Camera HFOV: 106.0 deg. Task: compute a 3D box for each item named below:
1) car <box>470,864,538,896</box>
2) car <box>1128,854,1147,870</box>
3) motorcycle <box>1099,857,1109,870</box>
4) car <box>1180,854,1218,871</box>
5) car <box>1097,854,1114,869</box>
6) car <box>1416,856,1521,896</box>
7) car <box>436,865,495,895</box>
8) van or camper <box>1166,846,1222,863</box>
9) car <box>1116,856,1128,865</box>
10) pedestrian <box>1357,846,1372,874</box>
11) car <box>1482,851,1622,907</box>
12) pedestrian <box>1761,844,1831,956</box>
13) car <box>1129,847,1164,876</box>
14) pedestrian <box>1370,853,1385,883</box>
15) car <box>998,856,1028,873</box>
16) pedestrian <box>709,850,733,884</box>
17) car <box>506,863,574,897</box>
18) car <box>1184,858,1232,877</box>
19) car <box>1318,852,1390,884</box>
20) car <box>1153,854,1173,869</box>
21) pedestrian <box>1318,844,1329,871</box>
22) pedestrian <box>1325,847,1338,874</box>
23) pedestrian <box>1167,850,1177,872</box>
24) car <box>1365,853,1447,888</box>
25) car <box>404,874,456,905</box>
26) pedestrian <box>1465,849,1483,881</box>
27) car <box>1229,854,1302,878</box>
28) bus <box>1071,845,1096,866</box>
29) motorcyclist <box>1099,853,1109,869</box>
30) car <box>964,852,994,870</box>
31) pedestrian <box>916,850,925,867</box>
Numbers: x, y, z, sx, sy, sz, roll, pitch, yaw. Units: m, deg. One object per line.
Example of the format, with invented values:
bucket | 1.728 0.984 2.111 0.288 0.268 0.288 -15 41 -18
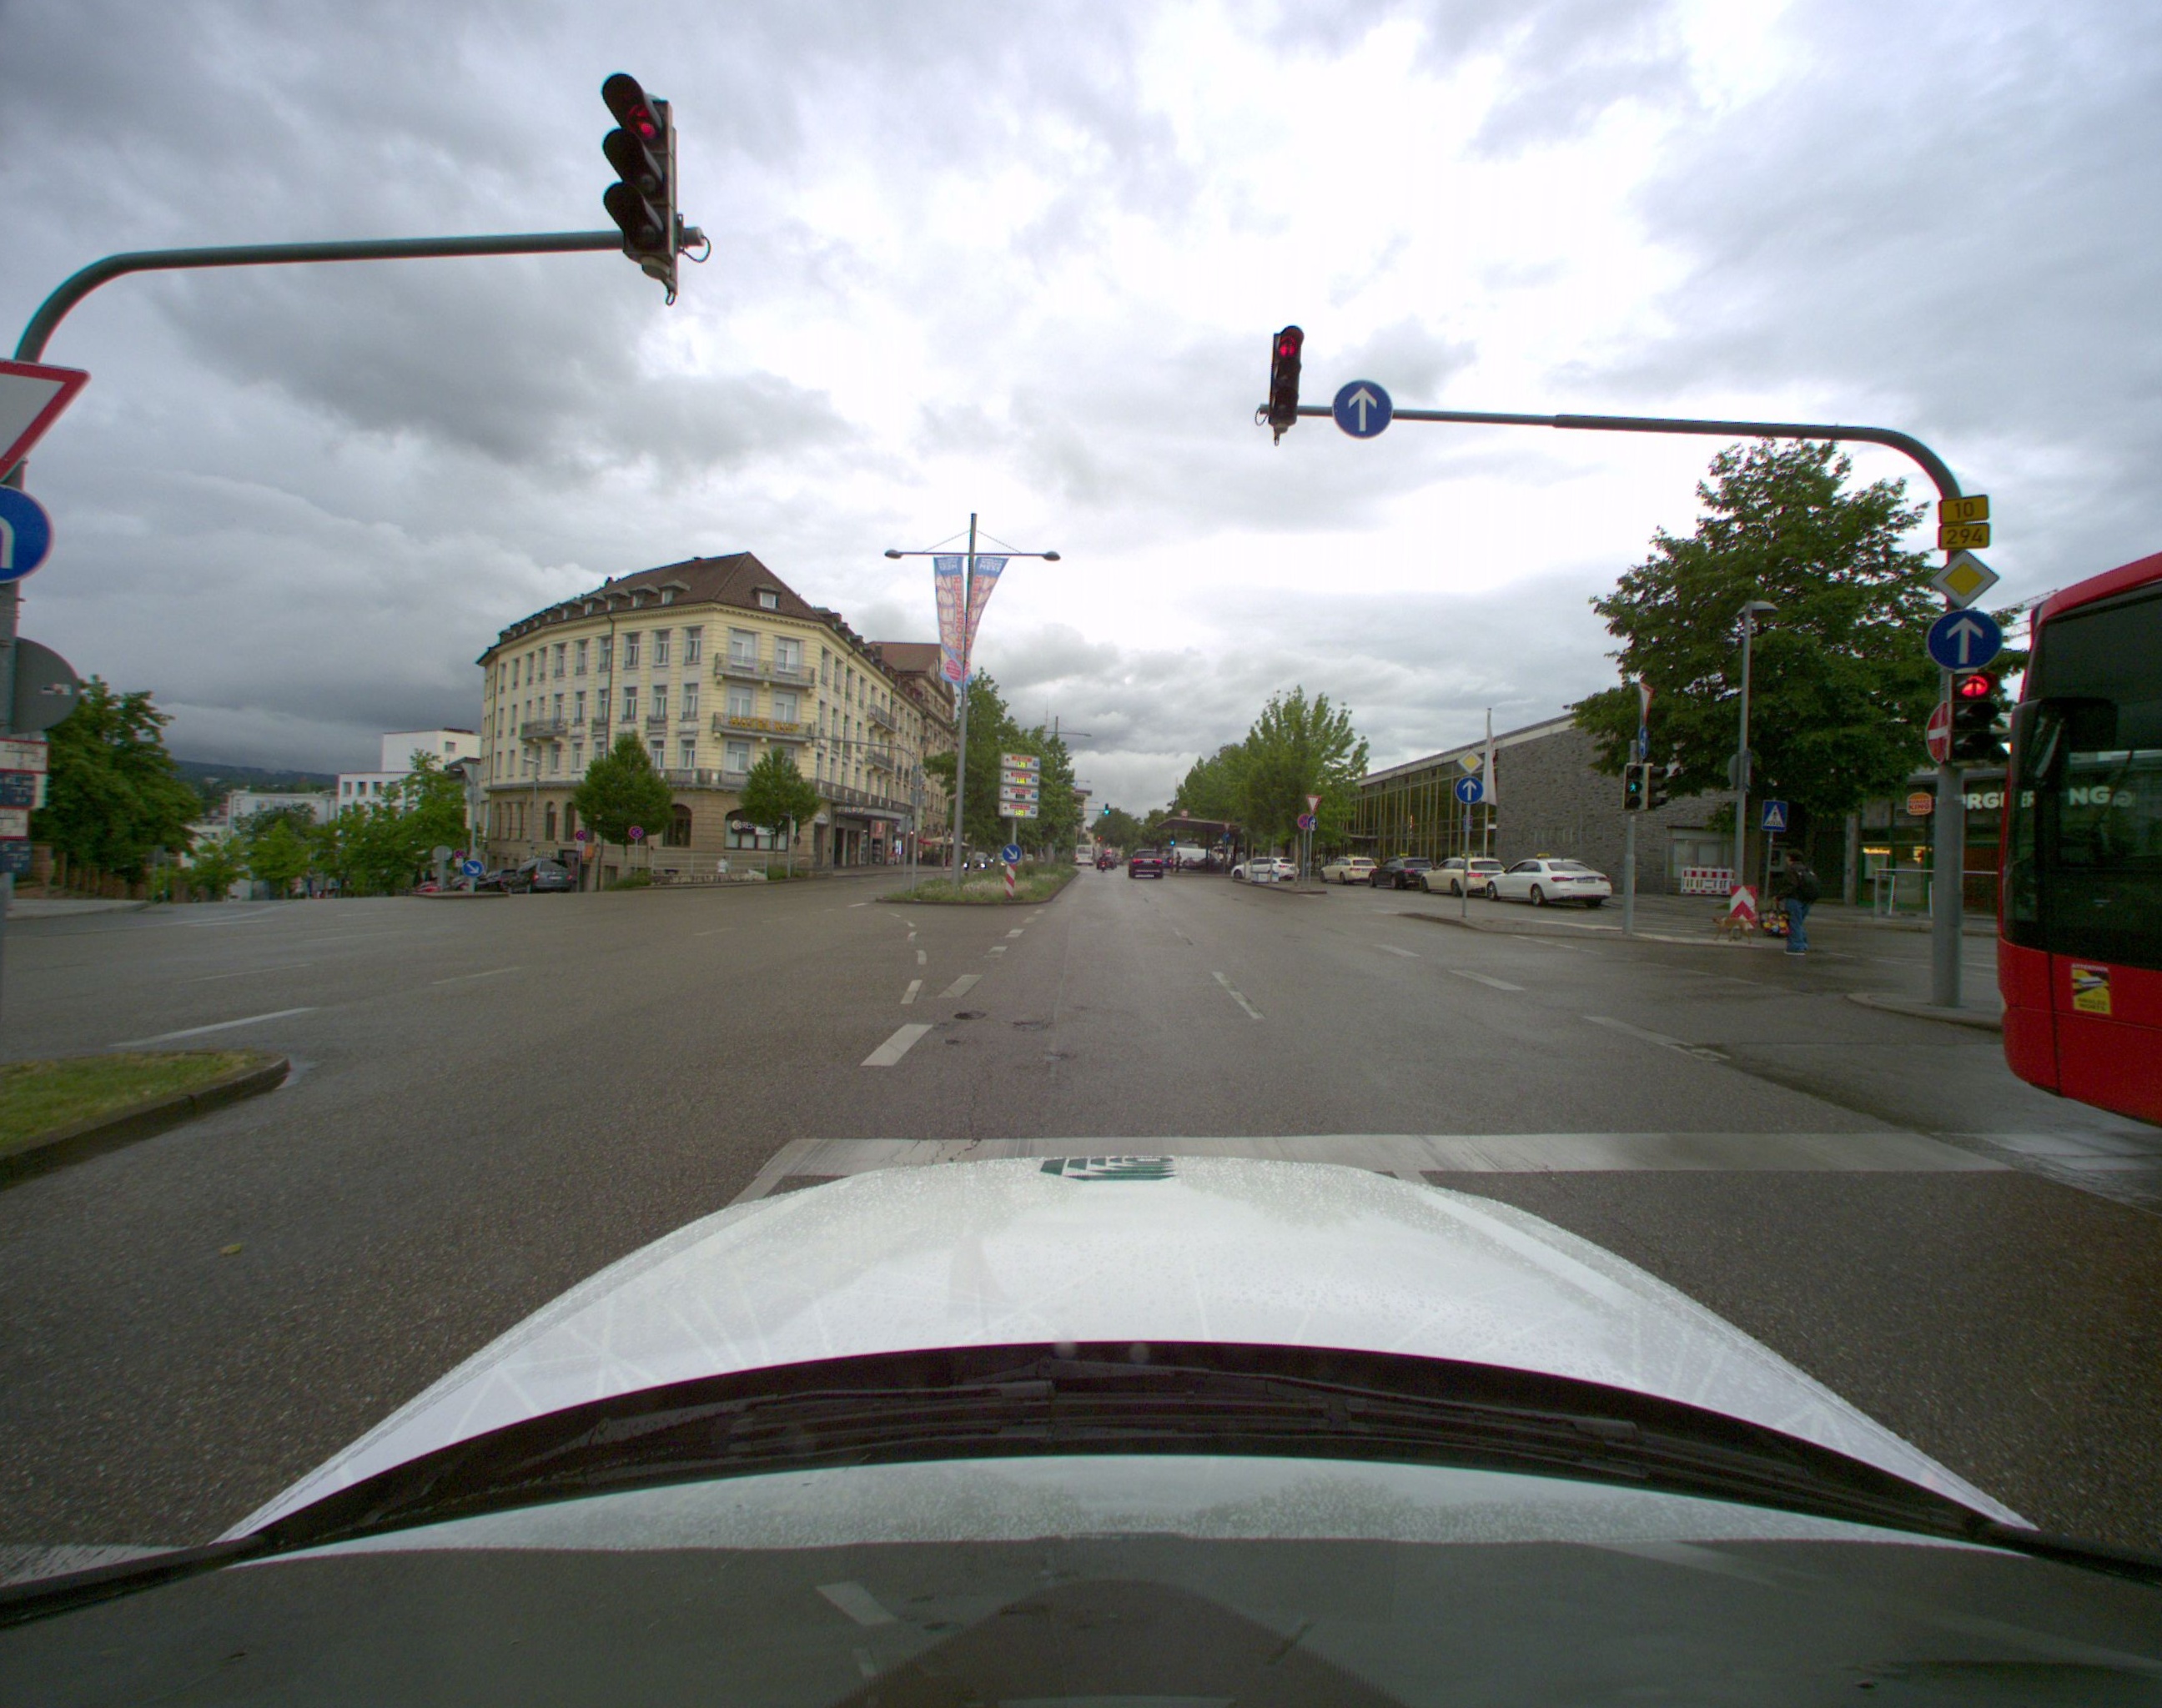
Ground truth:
car | -31.973 1.414 45.113 3.948 1.640 2.013 -1 -1 37
car | 5.872 0.827 84.710 1.844 1.567 4.001 0 0 2
motorcycle | 1.906 0.797 67.144 0.763 1.077 2.176 0 0 2
car | 14.024 0.980 96.500 3.998 2.014 1.988 0 0 -18
car | 2.489 0.724 82.721 1.702 1.448 4.001 0 0 2
car | 14.782 0.791 31.376 1.840 1.452 4.666 0 0 0
car | -36.315 1.490 48.035 3.864 1.640 1.805 0 0 37
van or camper | 14.298 0.087 102.729 6.787 2.014 2.366 0 -1 -25
car | 6.550 1.056 130.332 1.702 1.474 4.001 0 0 2
pedestrian | 20.202 0.419 57.959 0.767 2.014 0.828 0 0 0
car | 14.642 0.725 25.657 1.768 1.589 4.615 0 0 0
pedestrian | 11.108 0.691 12.676 0.800 1.674 0.717 0 0 40
car | 4.128 0.454 51.910 1.986 1.806 4.691 0 0 2
pedestrian | 17.142 0.789 47.143 0.563 1.710 0.715 0 0 -3
car | -5.833 0.879 69.925 1.716 1.381 4.866 -1 0 5
pedestrian | -20.207 0.708 45.717 0.860 1.878 1.023 0 0 1
car | -27.104 1.271 40.773 3.949 1.568 1.812 0 0 41
car | 12.820 1.389 82.140 4.348 1.857 1.988 0 0 -18
car | 14.678 0.717 44.097 1.990 1.600 4.814 0 0 -5
car | 8.558 0.760 85.378 1.809 1.530 4.001 0 0 2
pedestrian | 21.818 0.272 73.296 0.839 2.411 0.863 0 0 3
pedestrian | 18.982 0.465 61.730 0.767 2.014 0.828 0 0 0
pedestrian | 7.429 0.600 66.557 0.717 1.791 0.663 0 0 -10
car | 14.881 0.715 37.603 1.907 1.524 4.741 0 0 0
car | -41.191 2.207 51.496 3.575 1.812 1.788 0 0 38
pedestrian | 20.429 0.570 42.299 0.563 1.646 0.715 0 0 -3
car | 11.496 0.719 50.957 1.788 1.385 4.318 0 0 -39
bus | 0.306 0.292 133.500 3.749 3.209 15.519 0 0 -1
motorcyclist | 1.904 0.575 67.160 0.761 1.331 0.867 0 0 2
car | -8.635 0.597 69.411 1.763 1.530 4.083 0 0 4
pedestrian | -14.842 0.429 75.127 0.666 1.510 0.513 0 -1 -36
